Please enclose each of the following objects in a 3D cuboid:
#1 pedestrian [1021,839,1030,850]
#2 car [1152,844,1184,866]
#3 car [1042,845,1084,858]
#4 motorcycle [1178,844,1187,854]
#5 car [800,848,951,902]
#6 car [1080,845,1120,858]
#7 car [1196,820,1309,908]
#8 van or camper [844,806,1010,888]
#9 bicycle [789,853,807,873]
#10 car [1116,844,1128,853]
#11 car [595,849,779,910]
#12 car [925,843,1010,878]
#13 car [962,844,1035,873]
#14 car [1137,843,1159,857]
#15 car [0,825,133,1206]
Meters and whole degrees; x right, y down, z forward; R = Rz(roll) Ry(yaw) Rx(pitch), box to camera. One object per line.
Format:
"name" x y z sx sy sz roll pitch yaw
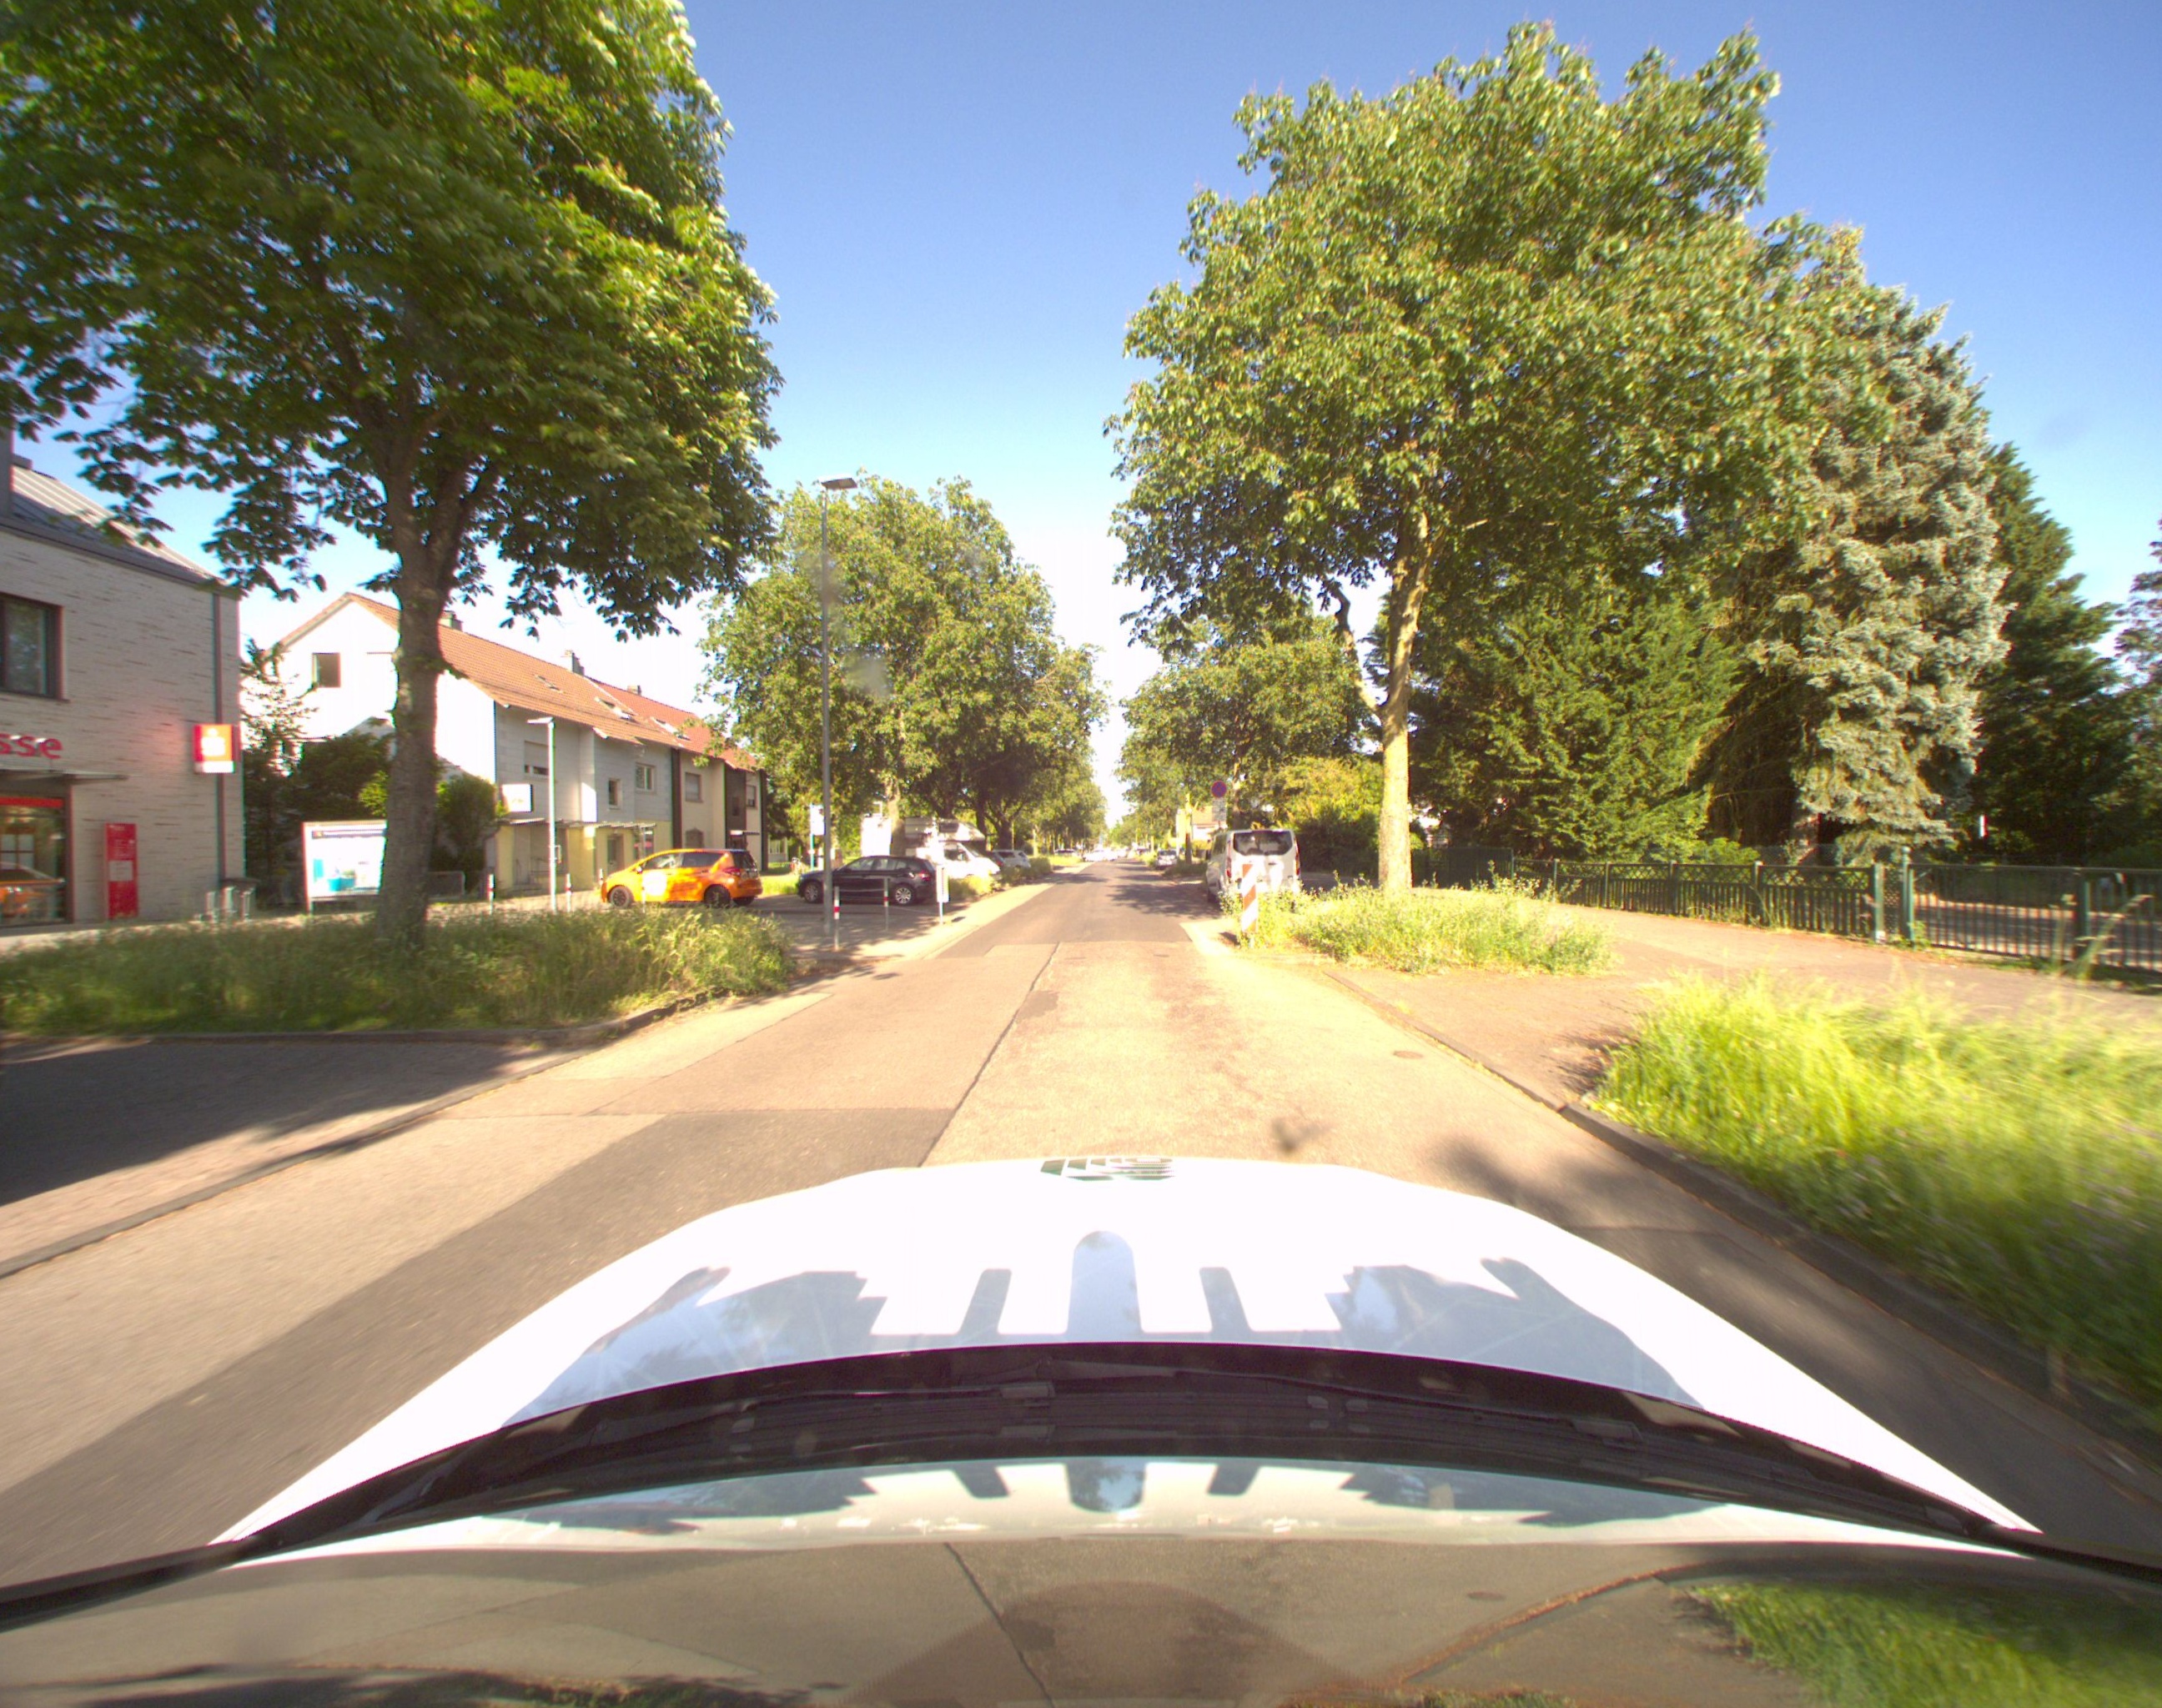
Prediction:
"pedestrian" -9.364 -1.681 137.947 1.227 1.827 1.543 1 -1 -14
"car" 6.366 0.088 59.289 1.981 1.510 4.010 -2 -1 9
"car" -2.094 -0.320 93.908 4.651 1.503 2.002 0 0 3
"motorcycle" 12.701 -0.601 101.714 0.814 1.227 2.353 -2 0 2
"car" -6.033 0.590 24.135 3.967 1.449 1.642 1 0 5
"car" 2.173 -0.258 95.183 4.170 1.455 2.013 0 1 30
"car" 4.440 0.241 21.930 1.986 2.013 5.198 2 0 1
"van or camper" -5.780 -0.267 30.953 5.750 2.805 2.002 2 0 4
"bicycle" -18.335 0.575 52.896 0.705 1.176 4.038 -1 1 -14
"car" 7.350 -0.936 146.036 1.988 1.508 3.657 2 0 -1
"car" -10.439 0.659 21.806 3.978 1.542 1.868 0 0 -3
"car" -5.759 0.332 41.677 3.972 1.589 2.001 2 0 1
"car" -4.788 0.249 47.674 3.972 1.660 1.967 0 1 1
"car" 8.144 -0.447 99.307 1.989 1.622 4.376 2 0 -3
"car" -7.403 0.647 3.092 5.047 1.728 1.999 2 0 -2
